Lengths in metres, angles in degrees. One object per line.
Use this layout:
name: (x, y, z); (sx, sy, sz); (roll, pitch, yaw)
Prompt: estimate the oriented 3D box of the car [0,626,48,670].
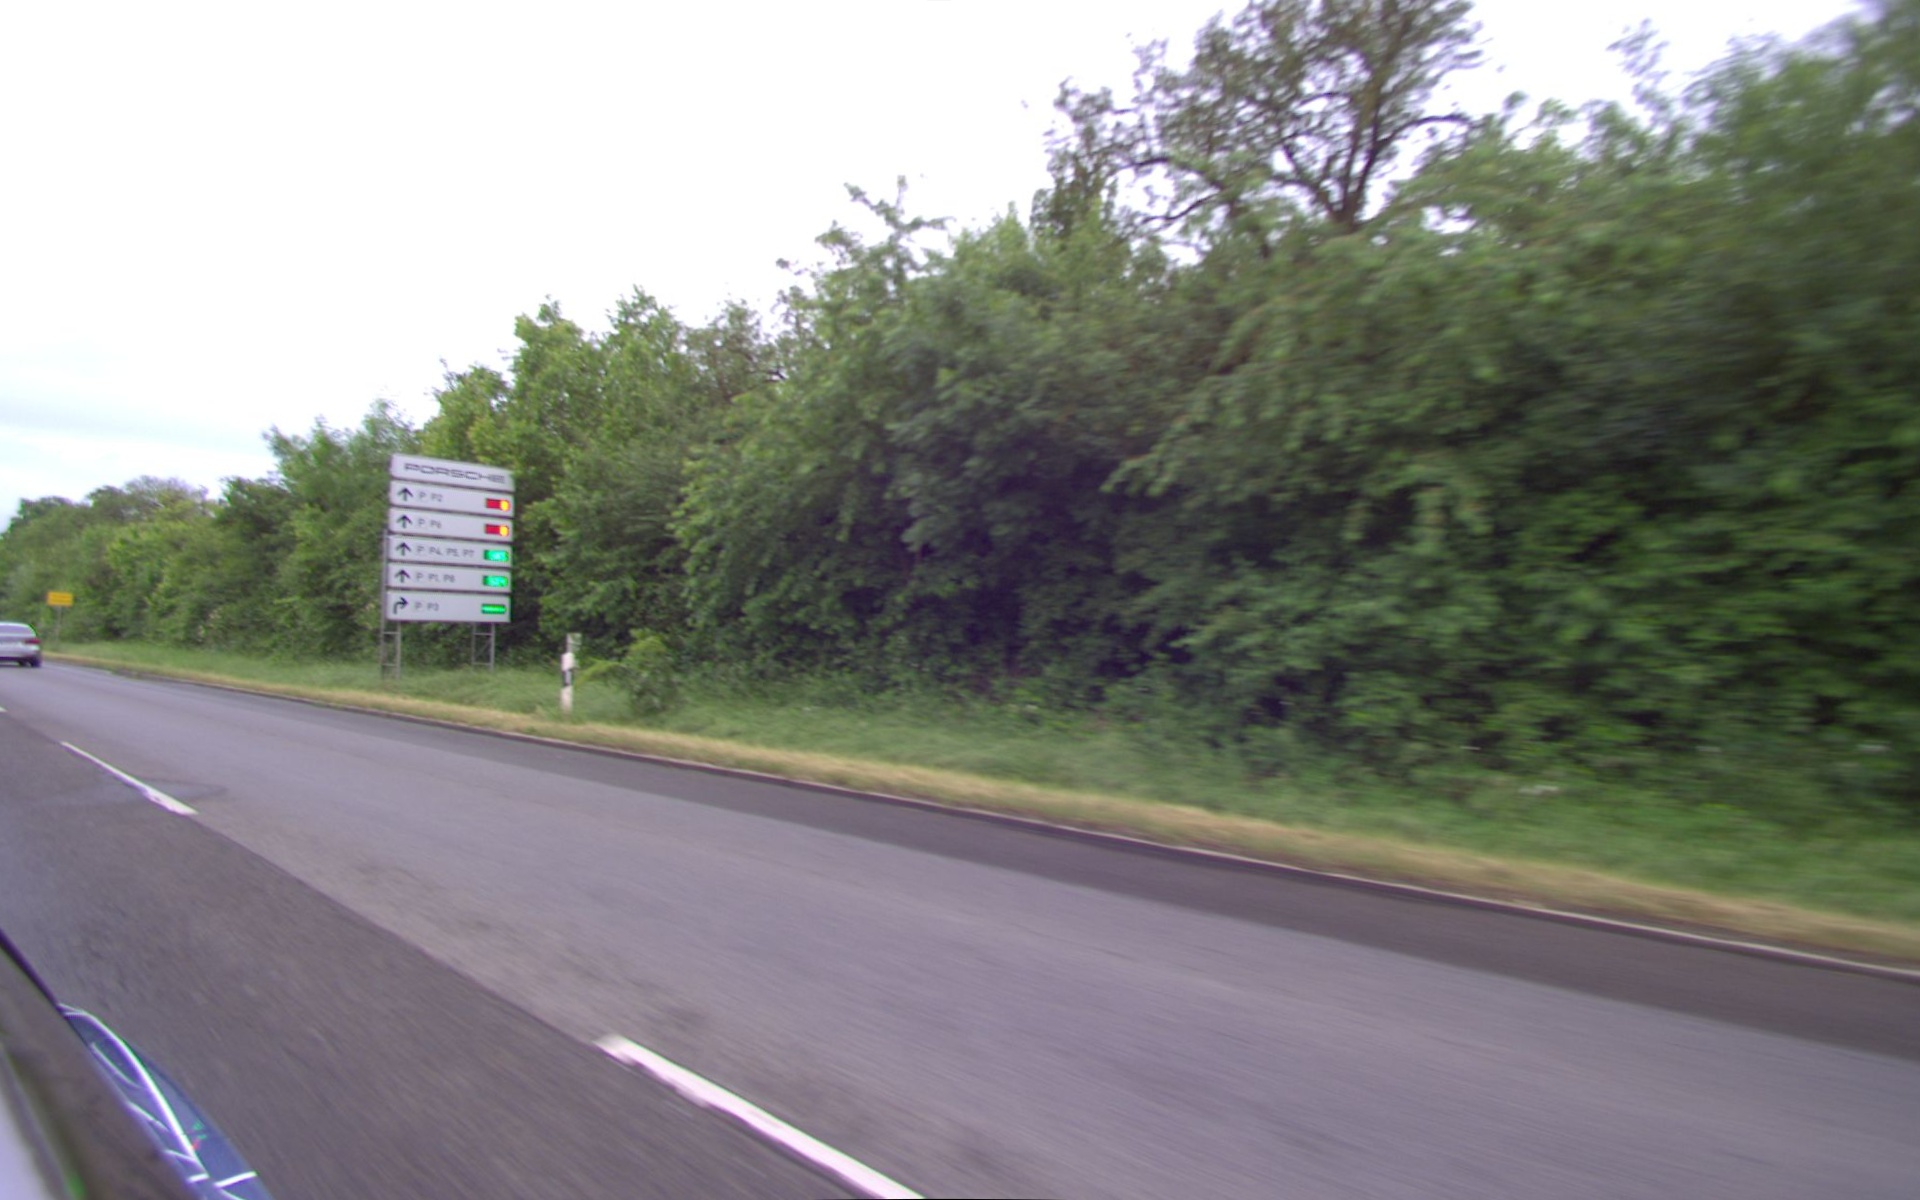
car: (-31.226, 1.543, 32.809); (4.379, 1.365, 1.871); (-2, -3, 40)
